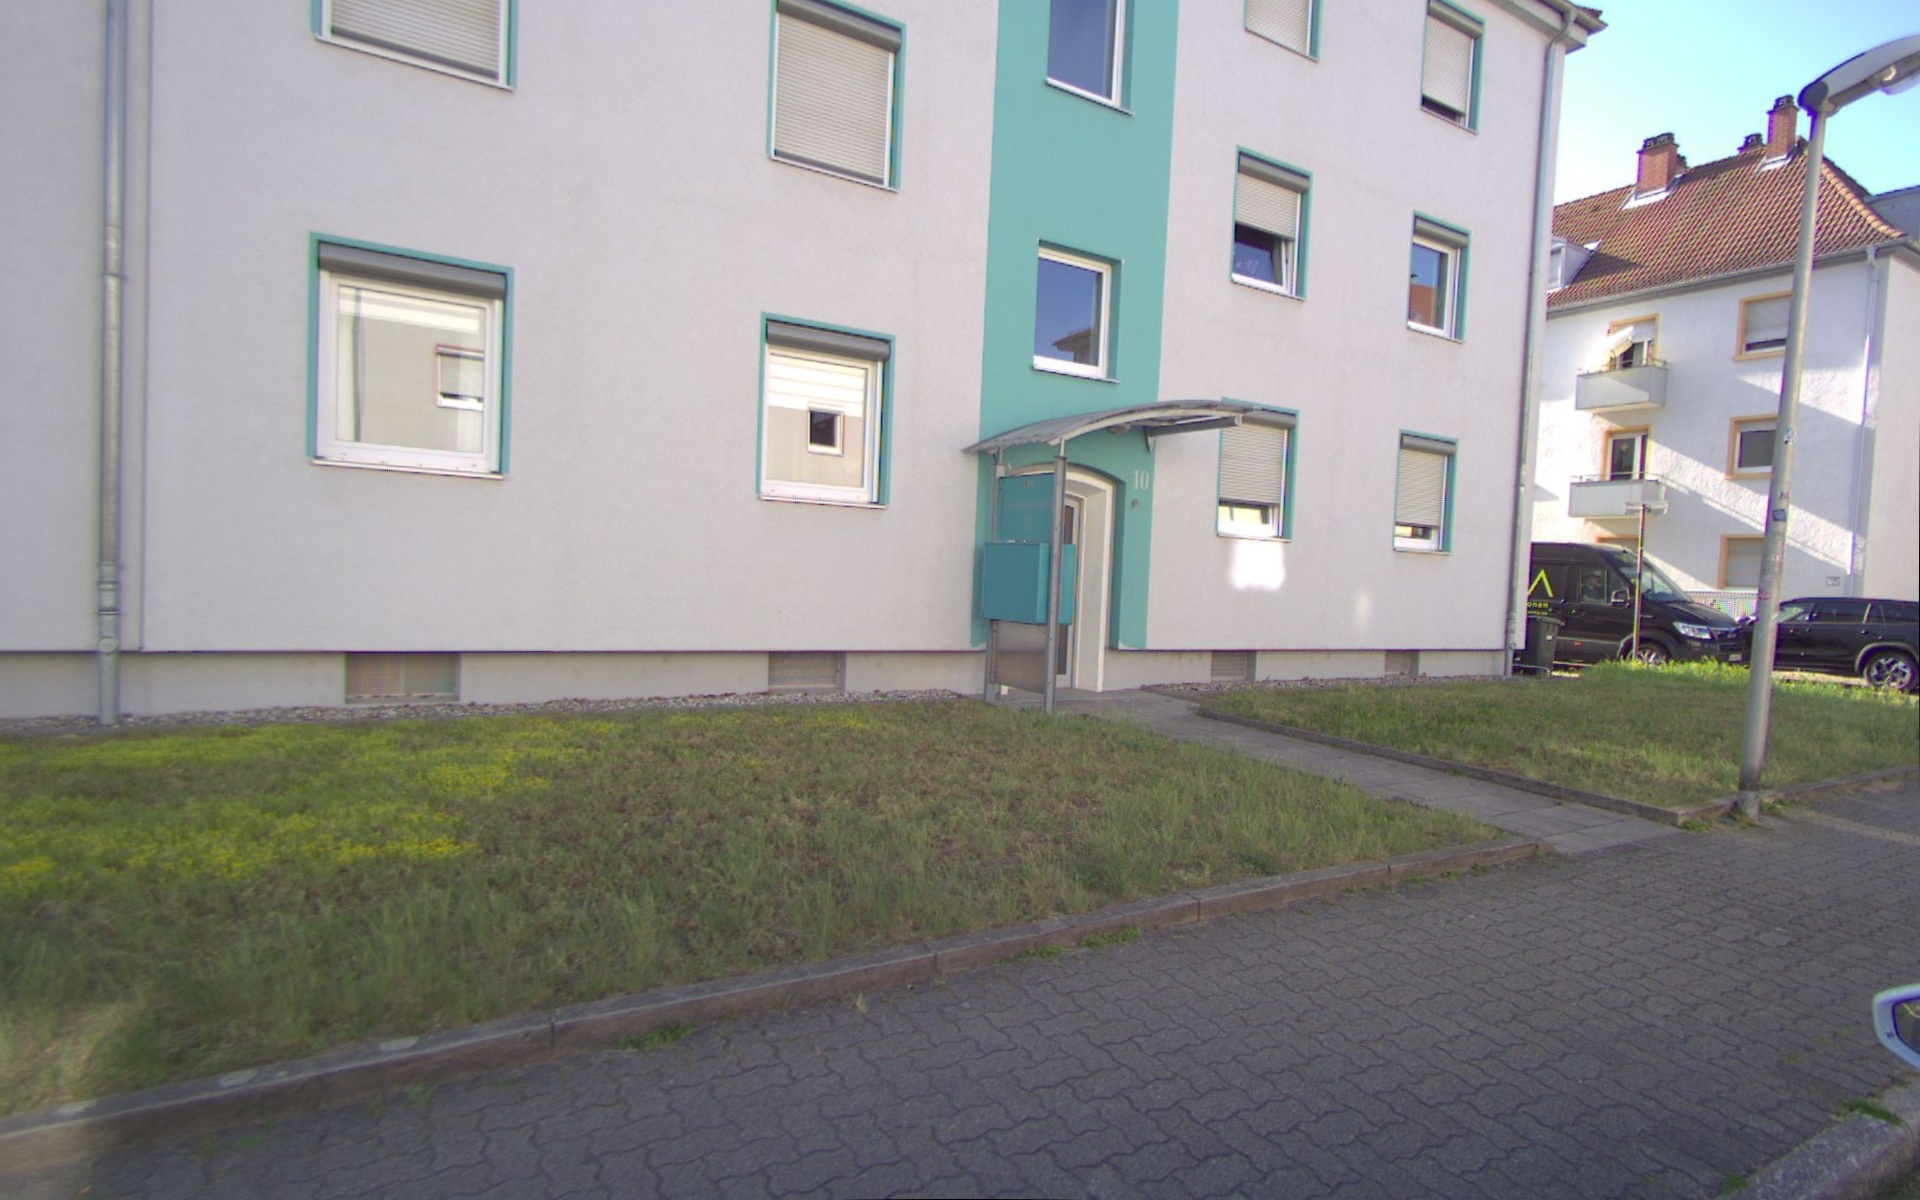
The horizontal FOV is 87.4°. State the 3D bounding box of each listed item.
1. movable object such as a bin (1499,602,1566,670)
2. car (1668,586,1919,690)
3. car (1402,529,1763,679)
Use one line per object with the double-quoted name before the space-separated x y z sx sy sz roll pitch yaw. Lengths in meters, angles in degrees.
"movable object such as a bin" 9.016 0.551 15.822 0.707 1.005 0.609 1 3 -32
"car" 16.391 0.677 19.076 1.700 1.685 4.465 3 1 -30
"car" 12.235 0.031 20.330 1.977 2.579 5.909 1 1 -31
